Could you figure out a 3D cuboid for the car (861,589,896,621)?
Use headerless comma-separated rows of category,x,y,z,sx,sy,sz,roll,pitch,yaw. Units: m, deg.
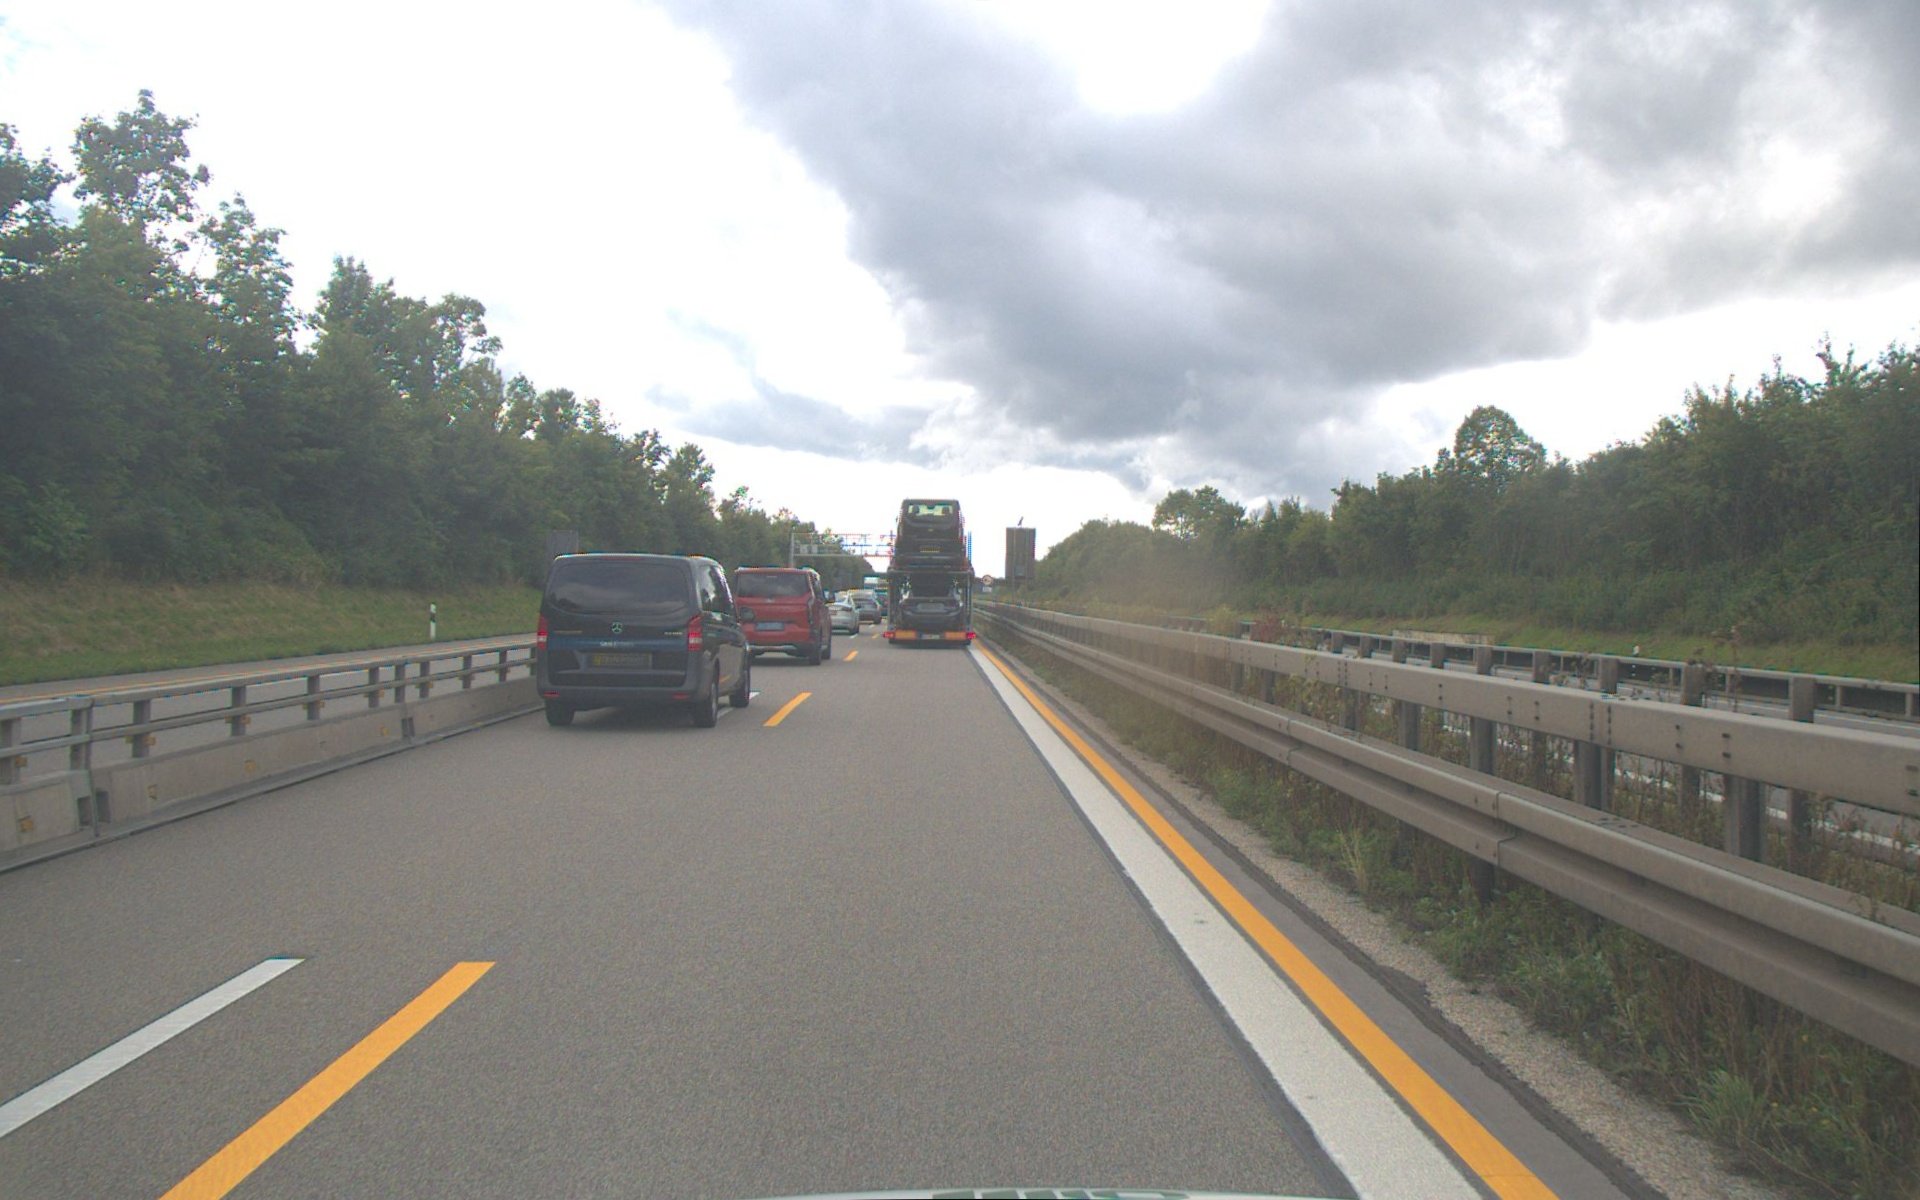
car,-4.713,0.287,96.150,1.990,1.788,4.576,0,0,-2

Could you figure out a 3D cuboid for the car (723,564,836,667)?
car,-3.769,0.295,35.290,1.990,2.049,4.577,0,0,-1

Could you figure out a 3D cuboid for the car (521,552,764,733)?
car,-3.640,0.432,20.021,1.953,1.875,5.608,0,0,-1

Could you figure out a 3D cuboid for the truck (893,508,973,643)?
truck,-0.881,-0.779,54.661,2.464,4.177,5.684,1,0,-1

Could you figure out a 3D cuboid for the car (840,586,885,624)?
car,-4.661,0.222,79.696,1.990,1.788,4.576,0,0,-2

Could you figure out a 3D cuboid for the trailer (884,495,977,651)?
trailer,-0.841,-0.738,49.916,2.464,4.177,11.112,1,0,-1

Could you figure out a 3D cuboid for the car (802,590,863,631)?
car,-4.588,0.360,60.081,1.990,1.456,4.576,0,0,-2
